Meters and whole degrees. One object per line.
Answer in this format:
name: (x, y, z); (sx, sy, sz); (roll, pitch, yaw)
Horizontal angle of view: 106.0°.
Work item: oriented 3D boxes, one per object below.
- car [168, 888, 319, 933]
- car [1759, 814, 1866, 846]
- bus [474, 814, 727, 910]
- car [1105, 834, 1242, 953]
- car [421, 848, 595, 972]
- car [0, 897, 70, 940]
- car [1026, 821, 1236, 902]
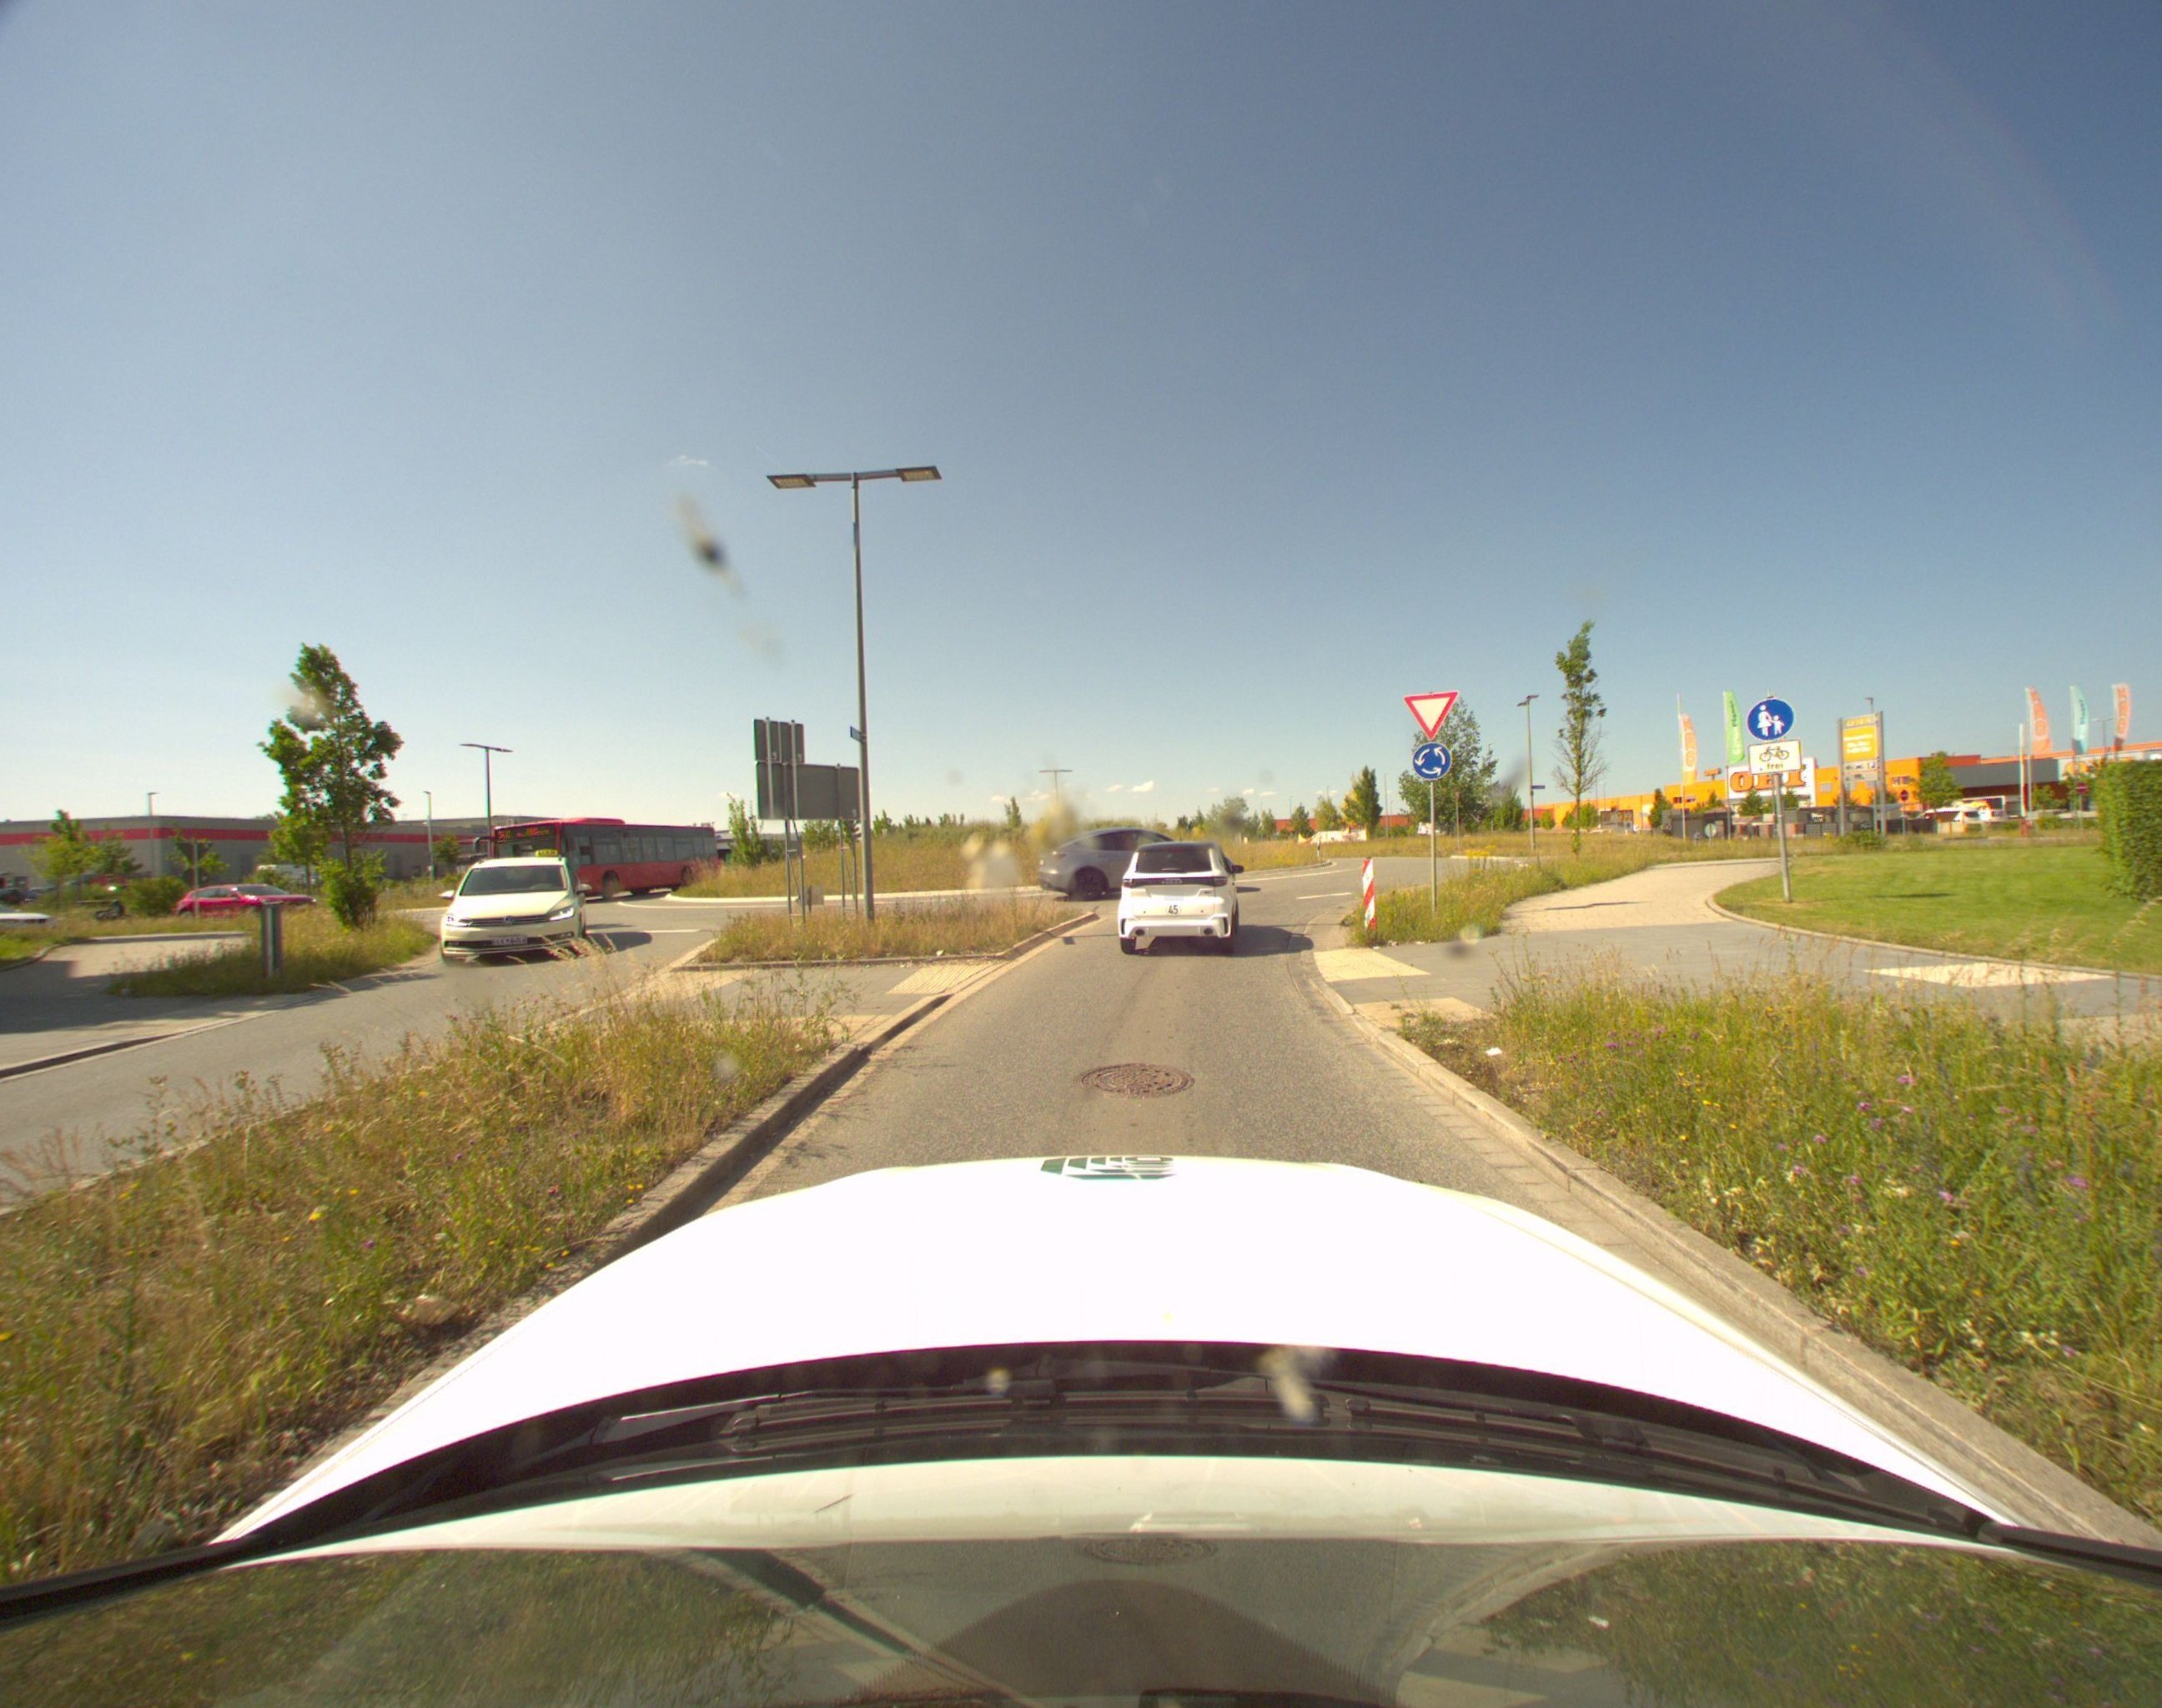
car: (-30.583, 2.054, 29.798); (3.970, 1.387, 1.574); (-2, 0, 3)
car: (38.421, -1.239, 42.848); (3.974, 1.459, 1.855); (-3, 0, -1)
bus: (-18.917, 0.135, 33.662); (2.777, 3.079, 12.207); (-3, 1, 1)
car: (1.521, 0.467, 12.176); (1.605, 1.434, 3.806); (-2, 2, 12)
car: (-9.742, 0.841, 14.217); (1.852, 1.665, 4.547); (-5, 1, -29)
car: (-40.908, 2.472, 30.443); (3.789, 1.452, 1.643); (-2, 0, -7)
car: (1.140, 0.133, 19.396); (4.613, 1.626, 1.956); (-2, 1, -12)
